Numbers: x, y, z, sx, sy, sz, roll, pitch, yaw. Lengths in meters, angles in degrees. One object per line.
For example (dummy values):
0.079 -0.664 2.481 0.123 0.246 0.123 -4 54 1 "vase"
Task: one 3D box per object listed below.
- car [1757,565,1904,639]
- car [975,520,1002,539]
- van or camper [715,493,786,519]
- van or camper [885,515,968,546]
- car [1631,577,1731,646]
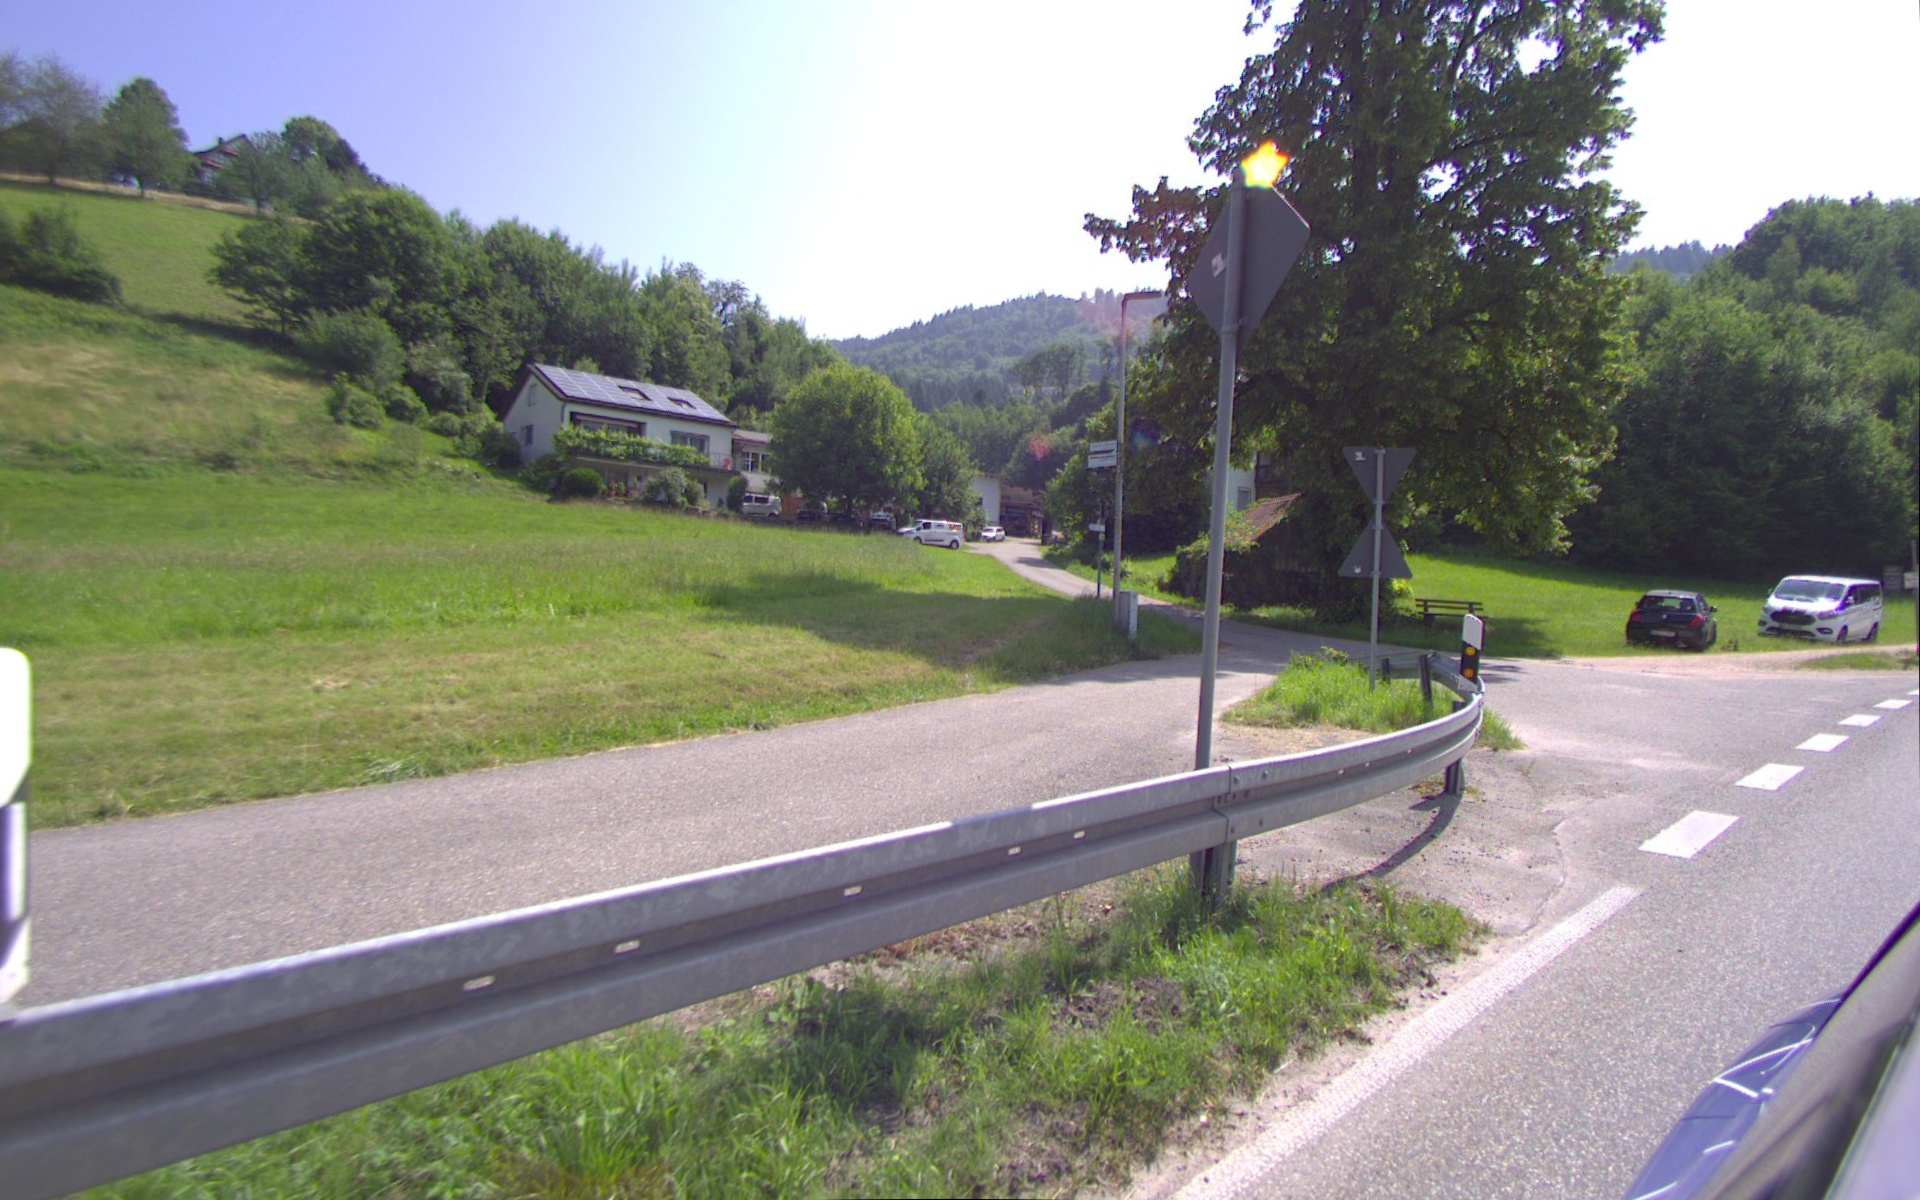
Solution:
26.180 0.009 30.398 4.775 1.869 2.009 0 7 -35 "car"
2.824 -6.888 99.038 1.969 1.637 3.988 2 2 11 "car"
-15.744 -7.058 76.312 4.965 1.661 2.028 -1 3 -45 "van or camper"
-2.434 -4.979 73.350 5.333 1.973 2.819 0 2 -36 "van or camper"
18.952 0.241 26.546 1.673 1.474 3.661 6 6 41 "car"
